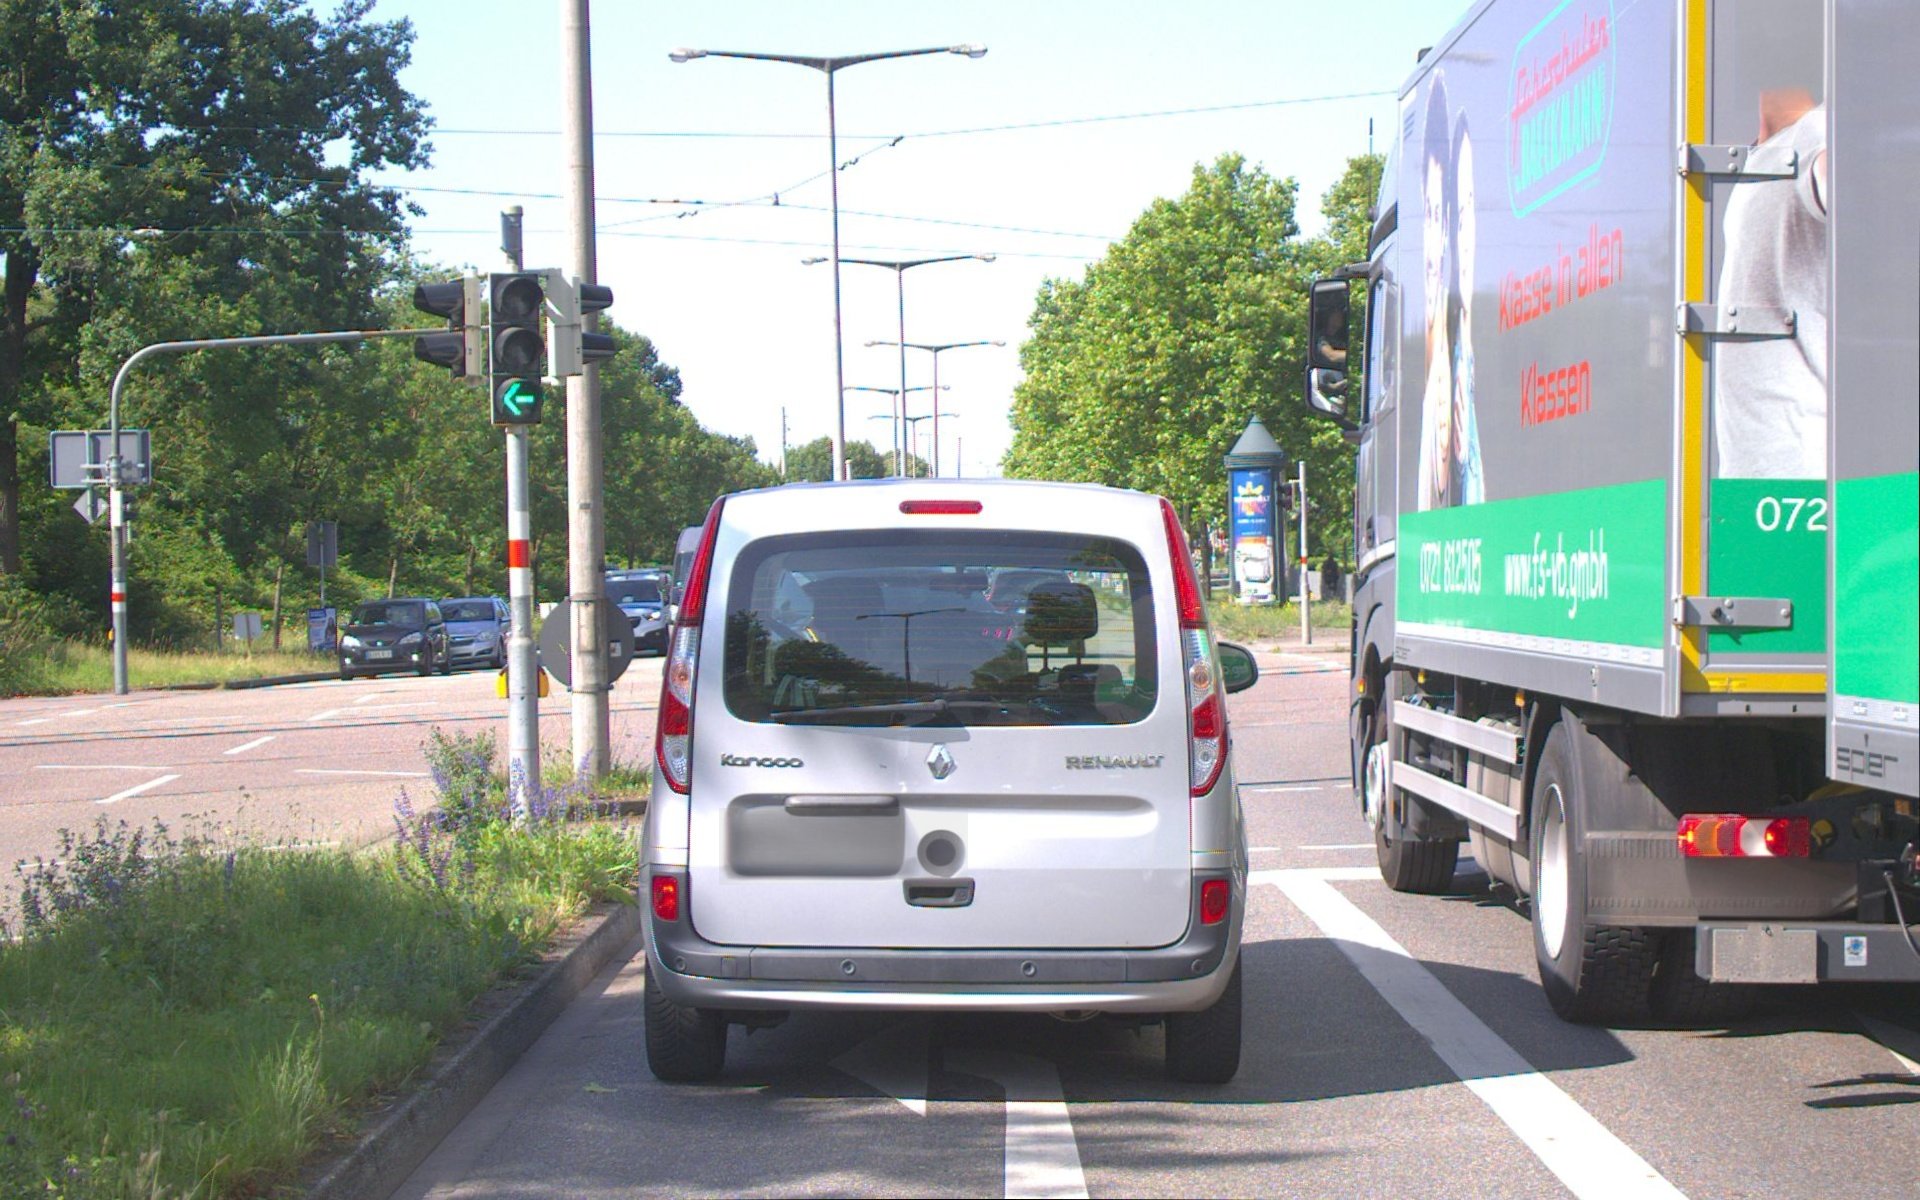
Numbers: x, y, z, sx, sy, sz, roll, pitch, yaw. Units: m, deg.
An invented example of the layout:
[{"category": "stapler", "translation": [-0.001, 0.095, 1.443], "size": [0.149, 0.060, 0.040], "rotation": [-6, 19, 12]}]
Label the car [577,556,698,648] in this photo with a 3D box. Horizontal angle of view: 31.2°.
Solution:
[{"category": "car", "translation": [-6.948, 0.045, 74.439], "size": [1.993, 1.864, 4.773], "rotation": [-2, 0, 2]}]

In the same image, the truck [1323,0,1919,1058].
[{"category": "truck", "translation": [3.201, -0.699, 13.739], "size": [2.729, 3.876, 8.722], "rotation": [-1, 0, 1]}]

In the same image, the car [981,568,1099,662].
[{"category": "car", "translation": [1.442, 0.256, 60.869], "size": [1.993, 1.579, 4.456], "rotation": [1, 0, 2]}]

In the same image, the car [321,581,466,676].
[{"category": "car", "translation": [-10.349, 0.508, 63.018], "size": [1.911, 1.636, 3.737], "rotation": [-2, 0, 2]}]

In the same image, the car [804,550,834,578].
[{"category": "car", "translation": [-10.324, -2.618, 252.123], "size": [1.888, 2.007, 4.000], "rotation": [1, 0, 1]}]

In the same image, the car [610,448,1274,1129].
[{"category": "car", "translation": [-0.092, 0.514, 11.373], "size": [1.786, 1.831, 4.000], "rotation": [1, 0, -1]}]

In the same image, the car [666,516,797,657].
[{"category": "car", "translation": [-4.409, -0.258, 67.055], "size": [1.993, 2.598, 5.133], "rotation": [-2, 0, 2]}]

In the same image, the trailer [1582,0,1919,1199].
[{"category": "trailer", "translation": [3.023, -0.495, 5.444], "size": [2.736, 3.864, 7.735], "rotation": [-1, 0, 1]}]

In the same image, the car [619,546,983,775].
[{"category": "car", "translation": [-1.189, 0.431, 27.882], "size": [1.931, 1.656, 4.227], "rotation": [-1, 1, 12]}]

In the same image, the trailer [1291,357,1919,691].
[{"category": "trailer", "translation": [8.998, -0.785, 42.829], "size": [2.907, 3.610, 12.655], "rotation": [1, 0, 41]}]

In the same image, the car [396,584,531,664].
[{"category": "car", "translation": [-10.108, 0.484, 70.255], "size": [1.993, 1.535, 4.236], "rotation": [-2, 0, 2]}]
